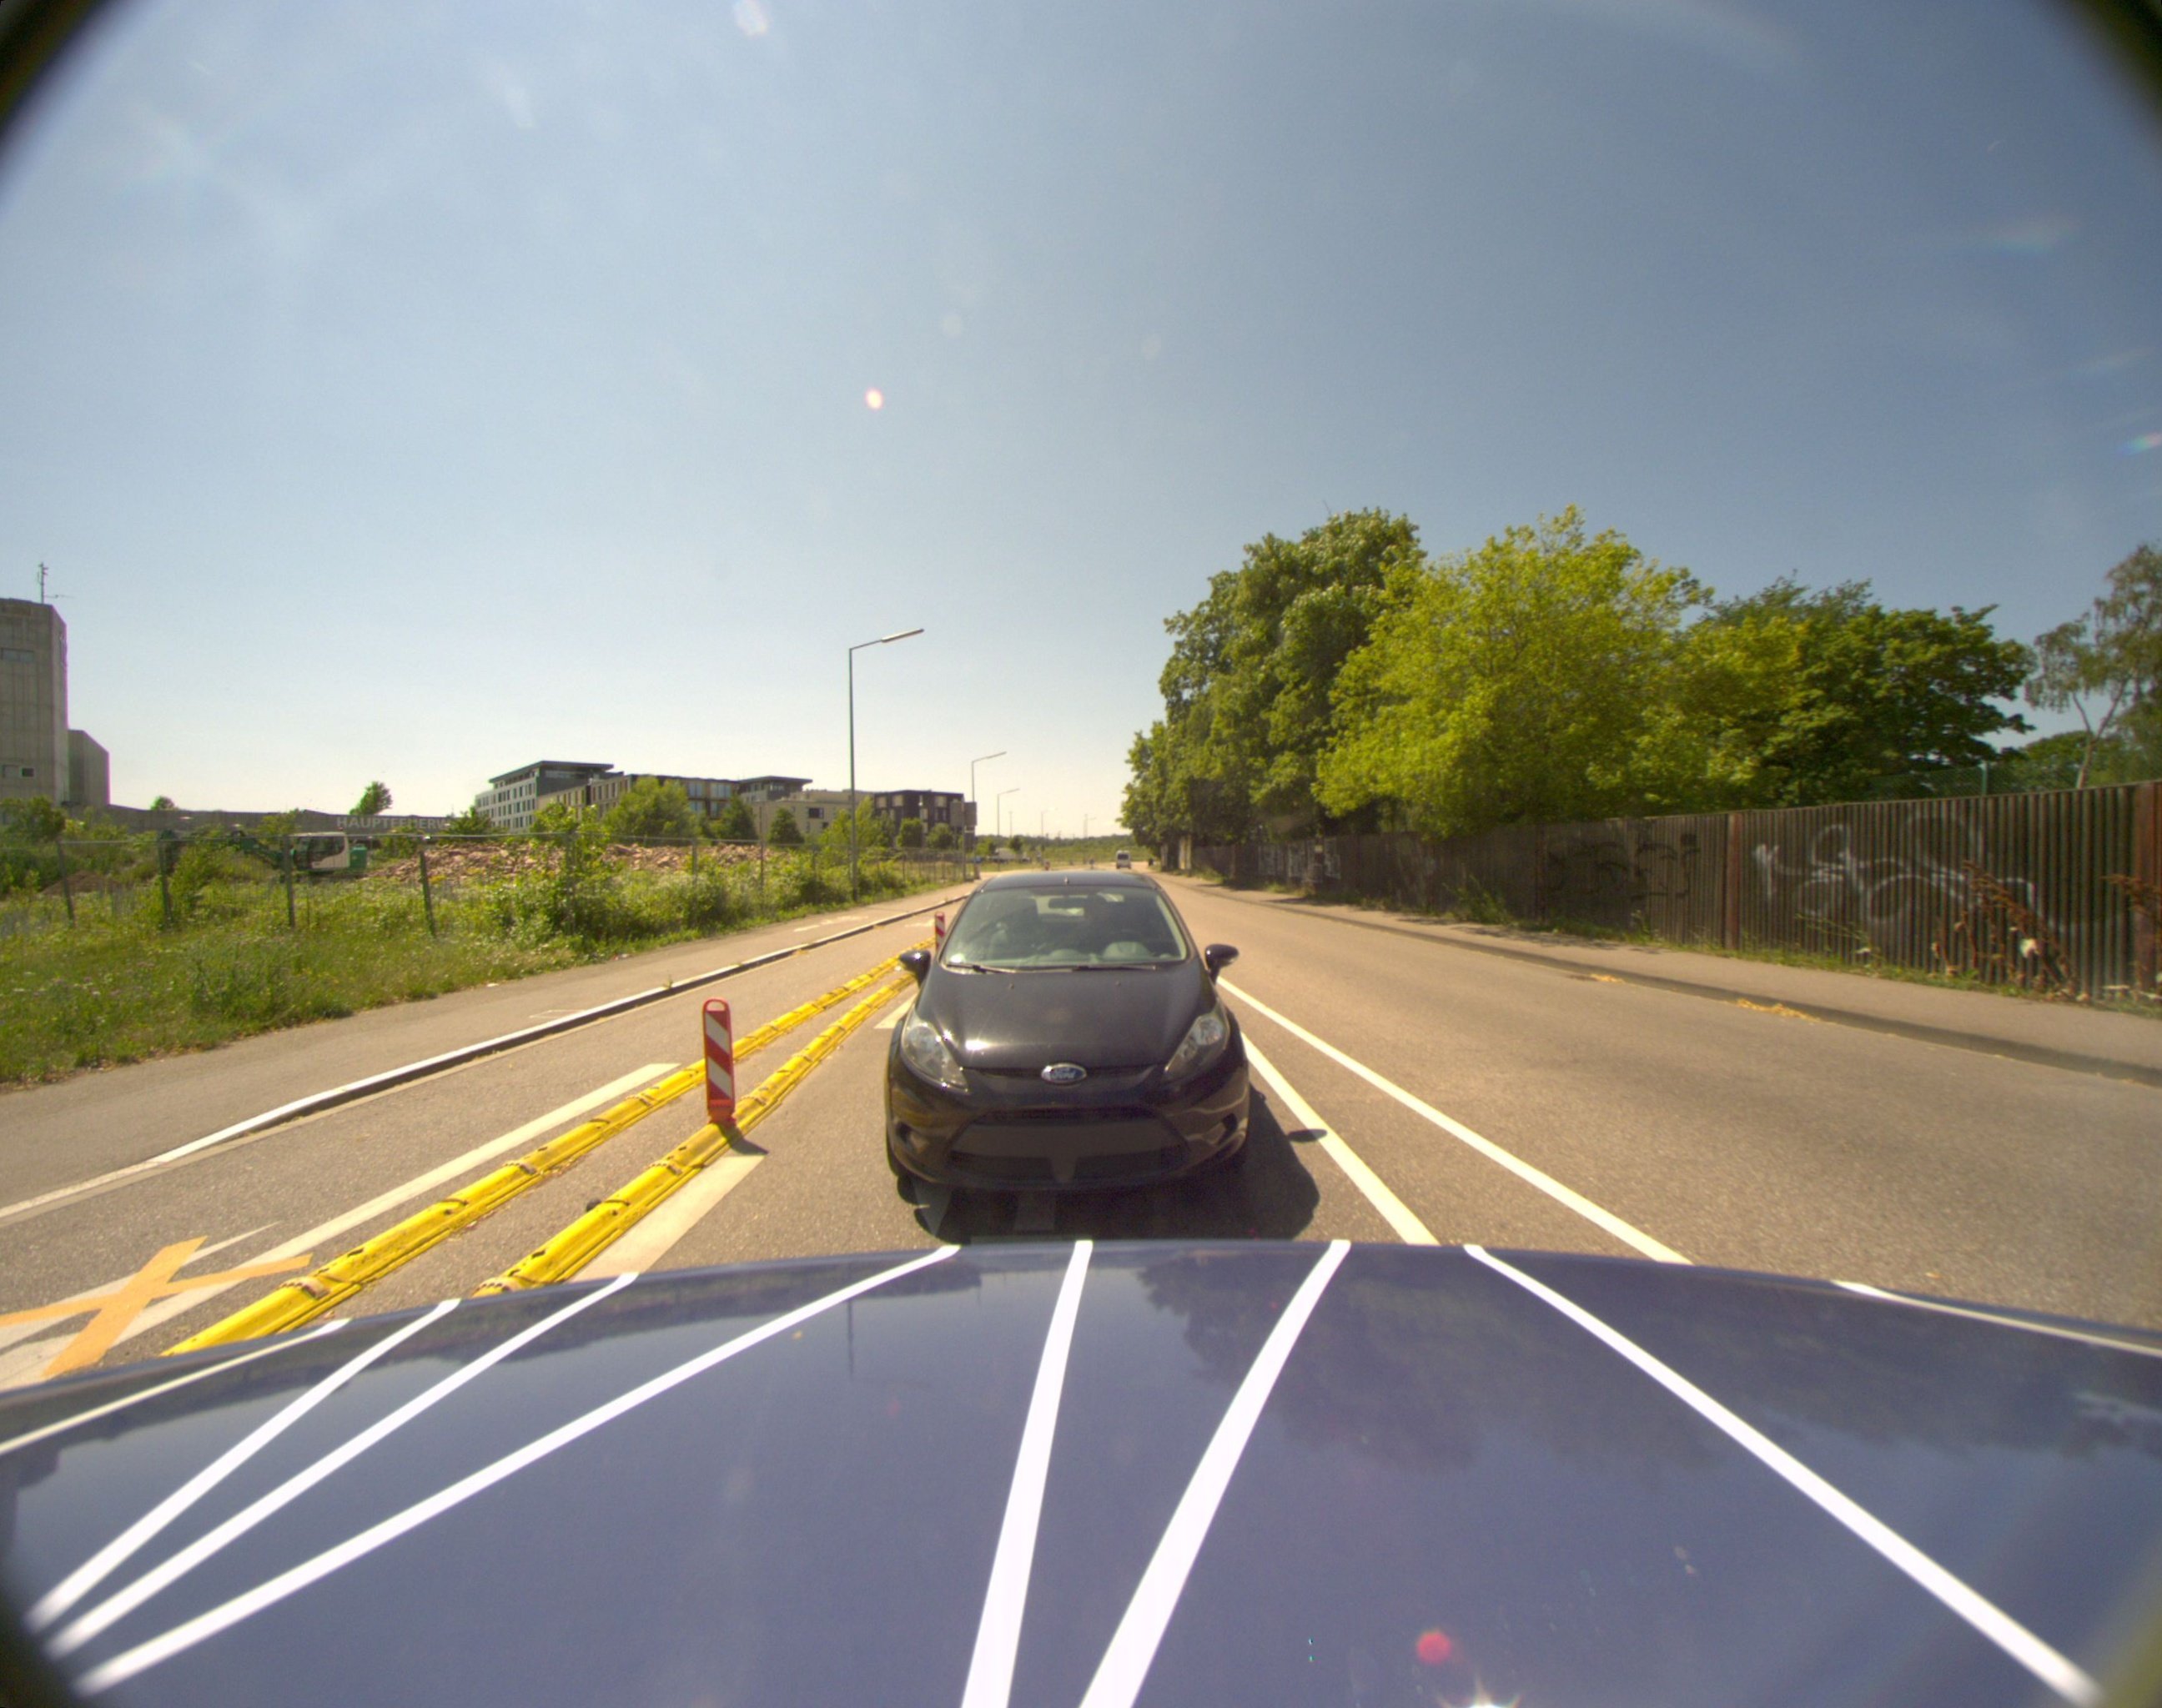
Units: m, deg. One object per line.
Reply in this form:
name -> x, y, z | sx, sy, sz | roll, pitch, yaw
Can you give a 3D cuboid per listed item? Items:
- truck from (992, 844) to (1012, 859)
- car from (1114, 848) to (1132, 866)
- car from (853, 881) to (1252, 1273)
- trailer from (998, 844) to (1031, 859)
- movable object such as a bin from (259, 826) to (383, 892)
truck -> -17.889, -0.659, 171.694 | 4.008, 3.316, 1.994 | -1, 1, -45
car -> 6.057, 0.374, 110.758 | 2.025, 2.524, 6.825 | 0, 0, -2
car -> -0.096, 0.991, 5.123 | 1.602, 1.422, 4.000 | -2, 0, 1
trailer -> -15.133, -0.661, 174.434 | 8.194, 3.329, 1.994 | -1, 0, -45
movable object such as a bin -> -37.627, 0.227, 37.772 | 2.204, 3.045, 3.690 | -2, 1, 6
